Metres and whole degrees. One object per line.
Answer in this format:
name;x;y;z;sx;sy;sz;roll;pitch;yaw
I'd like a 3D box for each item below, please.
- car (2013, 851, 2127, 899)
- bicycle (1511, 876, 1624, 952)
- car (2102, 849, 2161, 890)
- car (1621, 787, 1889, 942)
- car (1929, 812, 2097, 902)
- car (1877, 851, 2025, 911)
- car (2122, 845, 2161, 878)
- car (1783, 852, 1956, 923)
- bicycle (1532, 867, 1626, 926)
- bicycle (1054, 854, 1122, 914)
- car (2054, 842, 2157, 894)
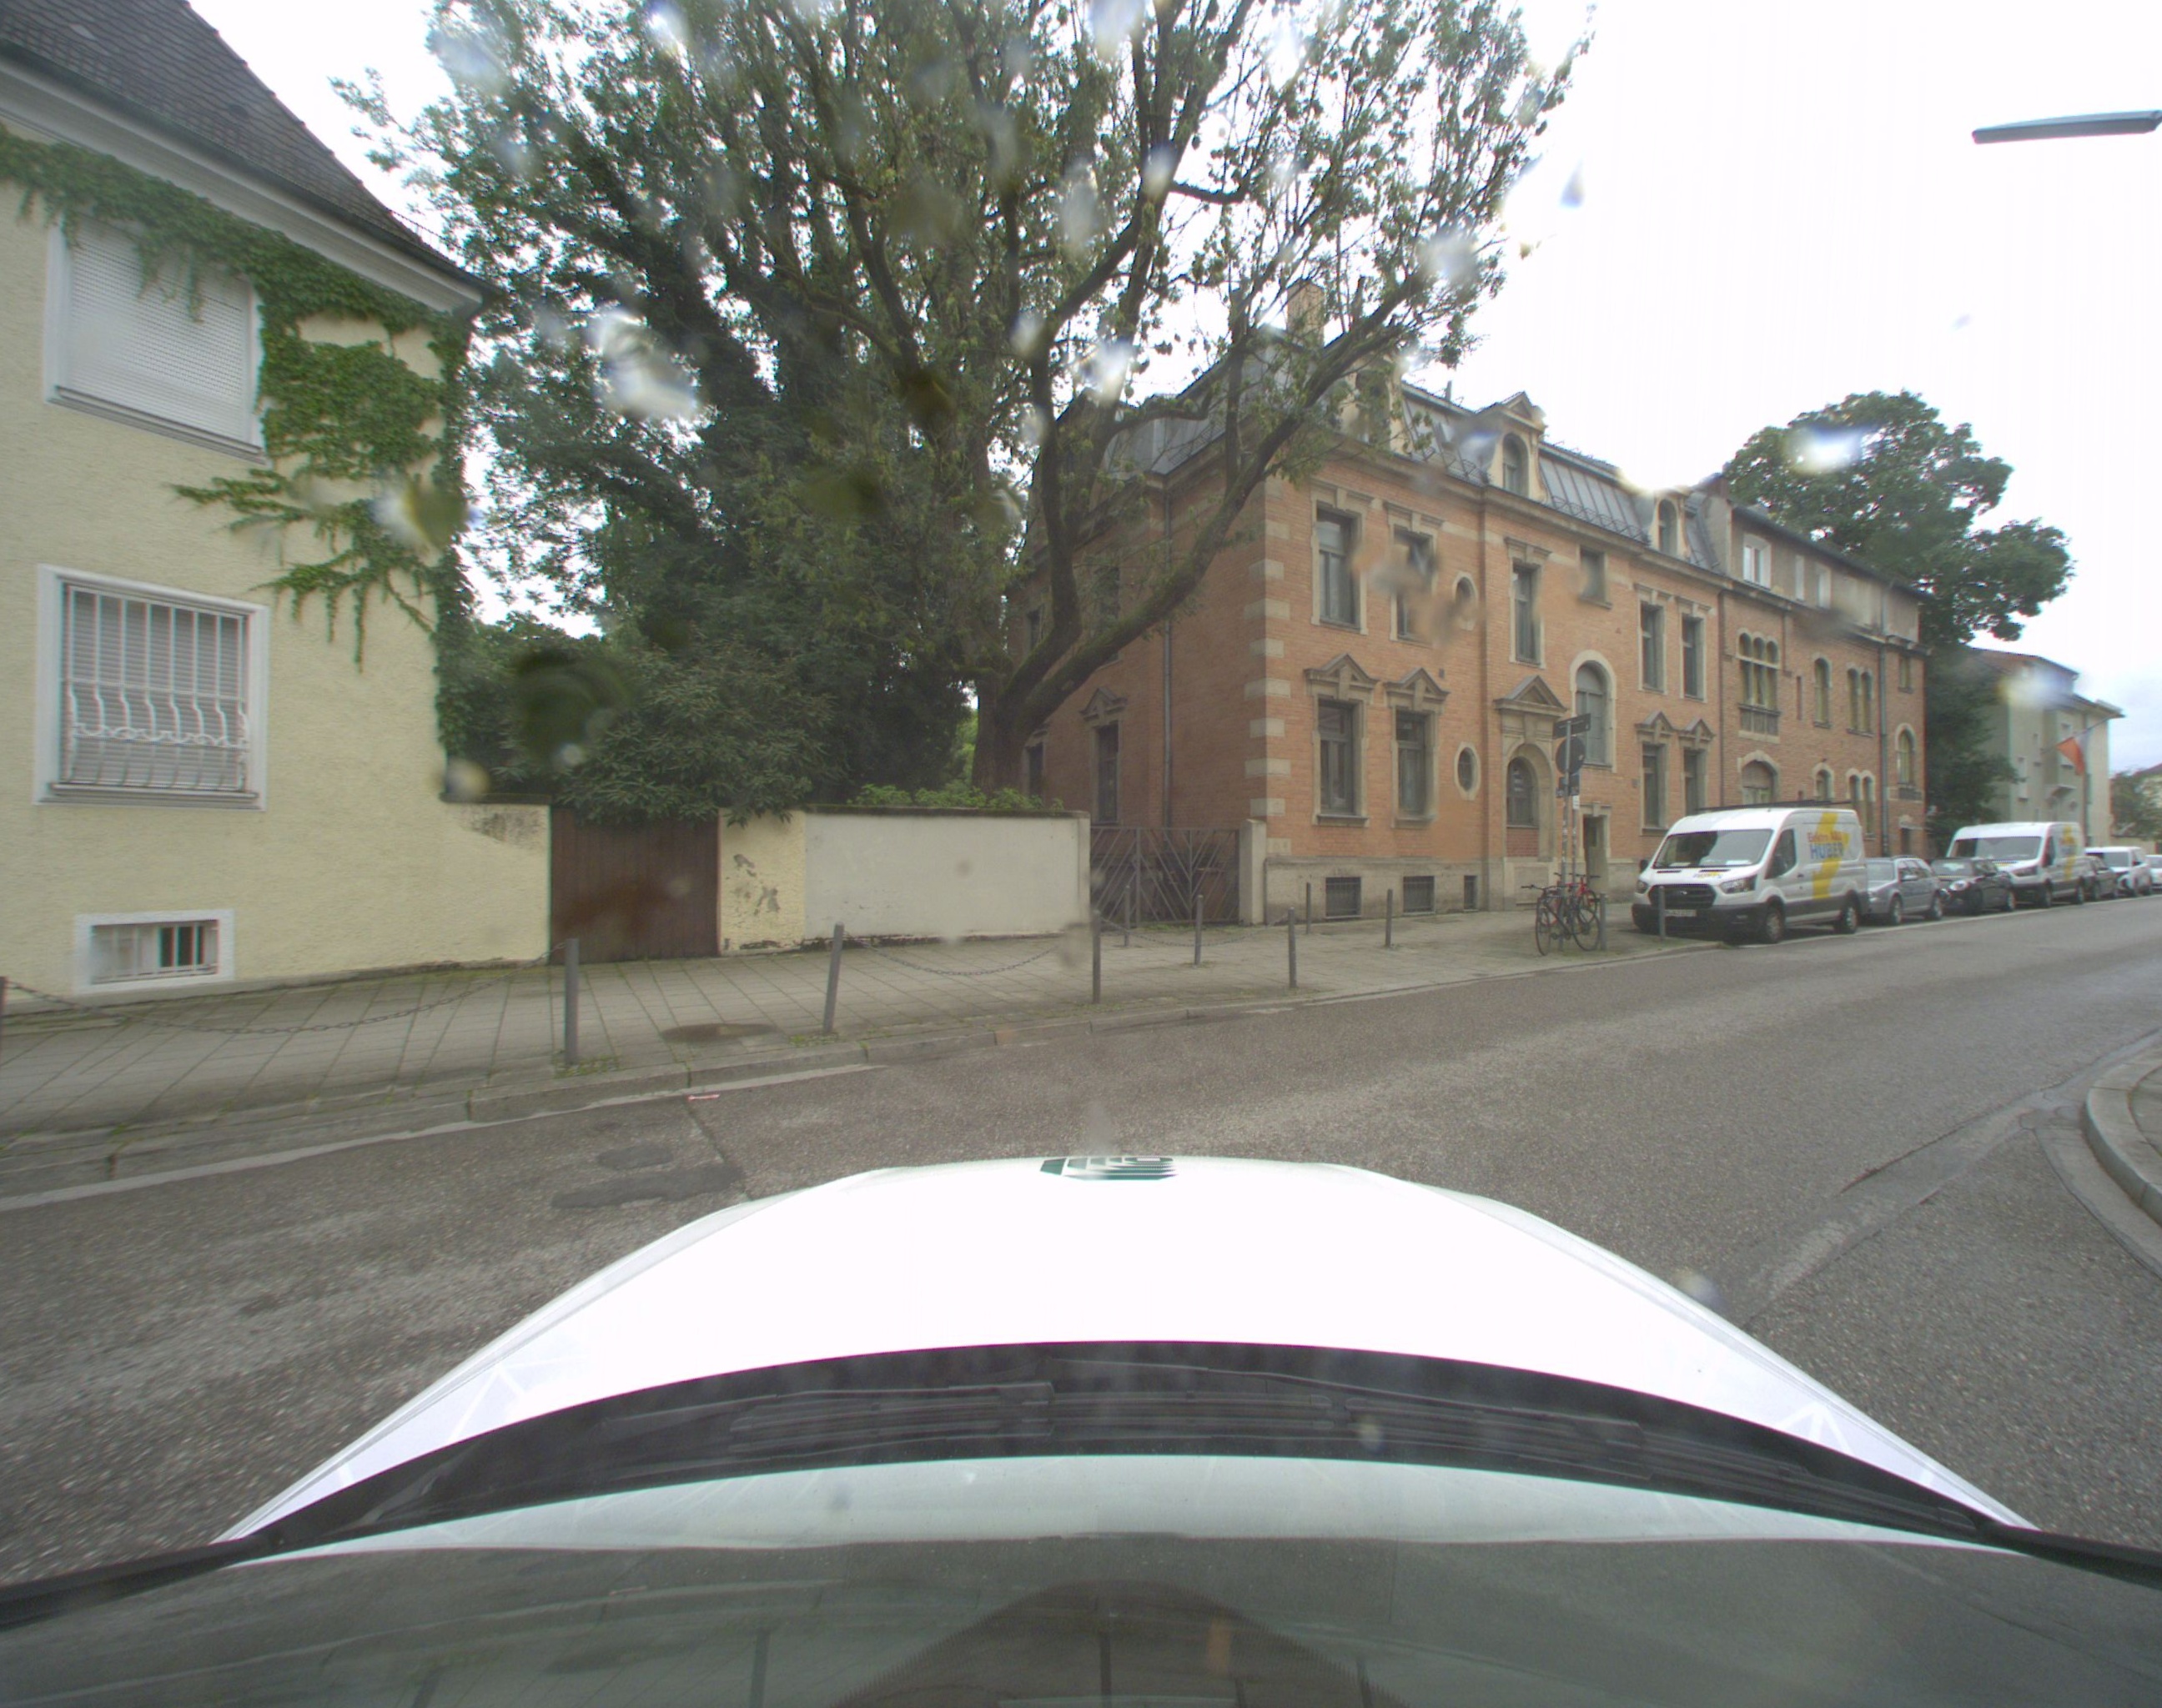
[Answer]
car;32.144;0.653;26.458;4.012;1.445;1.733;0;-1;-30
bicycle;7.269;0.870;12.151;1.766;1.054;0.576;0;-1;-26
car;41.868;0.595;31.981;4.015;1.540;1.833;1;-1;-33
car;12.690;0.218;15.239;5.486;2.468;1.980;0;-2;-30
car;26.999;0.114;23.556;5.384;2.349;2.124;0;-1;-29
car;22.360;0.670;20.914;3.840;1.431;1.688;0;-2;-29
car;45.955;0.319;34.636;4.015;1.368;1.738;1;-1;-33
car;17.746;0.715;18.302;4.008;1.455;1.678;0;-3;-30
bicycle;9.379;0.772;15.321;1.898;1.054;0.576;0;0;-26
bicycle;0.123;0.628;17.724;0.537;1.219;2.063;1;-1;-29
car;36.178;0.495;28.738;4.013;1.711;1.808;1;-1;-32
